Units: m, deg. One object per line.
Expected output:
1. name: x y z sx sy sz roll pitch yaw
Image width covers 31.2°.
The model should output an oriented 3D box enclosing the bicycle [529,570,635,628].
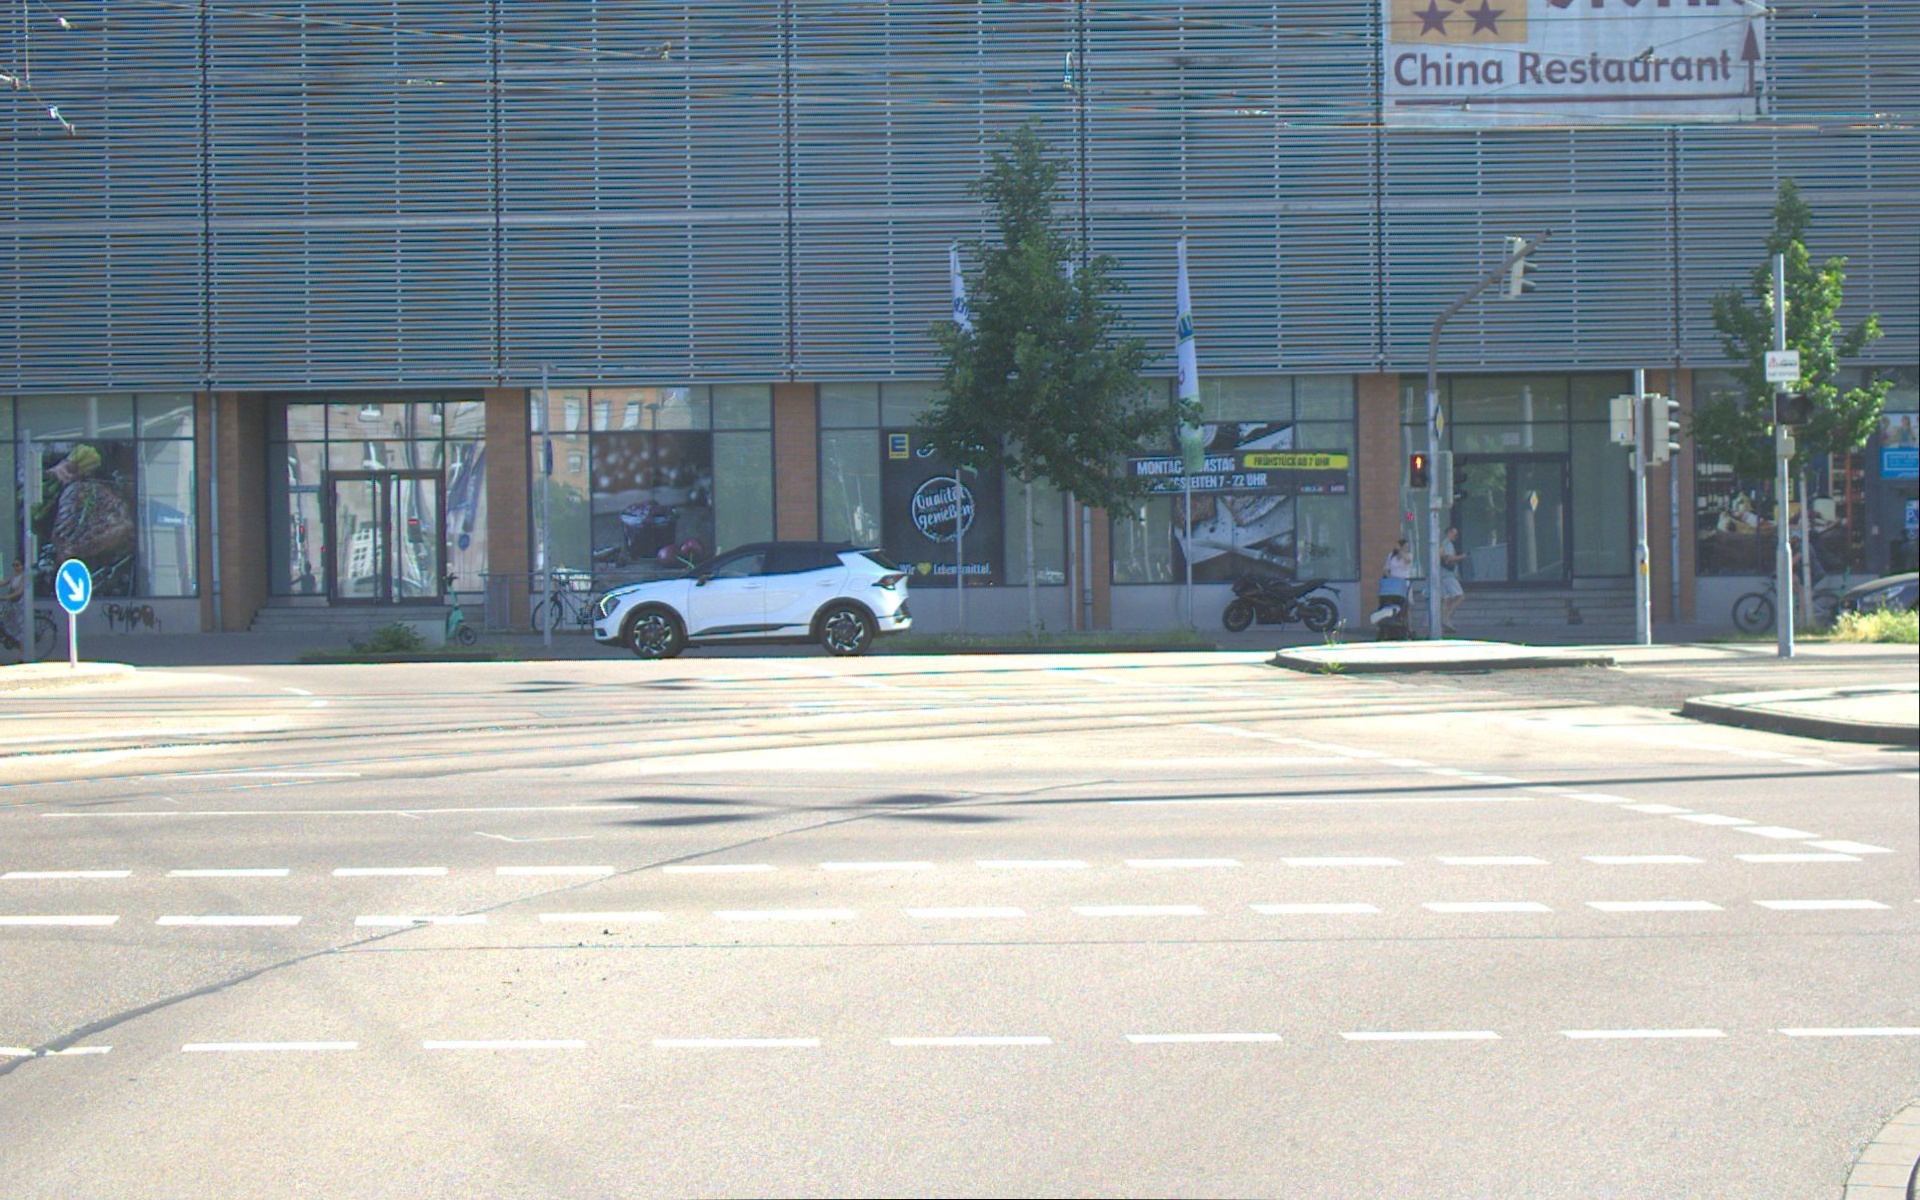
1. bicycle: -6.653 -0.022 60.541 1.815 0.986 0.558 -1 2 -10

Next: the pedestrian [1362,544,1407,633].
1. pedestrian: 6.827 -0.181 55.268 0.655 1.409 0.849 1 0 10

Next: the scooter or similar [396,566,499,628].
1. scooter or similar: -9.083 -0.051 60.923 1.792 1.062 0.613 0 2 -8

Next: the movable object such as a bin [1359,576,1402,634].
1. movable object such as a bin: 6.708 0.075 54.807 0.613 0.901 0.968 1 0 10

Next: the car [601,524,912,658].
1. car: -2.852 -0.133 48.800 4.326 1.856 1.841 0 0 -1

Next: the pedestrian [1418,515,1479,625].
1. pedestrian: 8.450 -0.509 59.501 0.950 1.822 0.845 -2 -3 5

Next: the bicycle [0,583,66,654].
1. bicycle: -15.249 0.305 54.859 0.568 1.082 1.859 1 3 43

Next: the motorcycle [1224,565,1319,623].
1. motorcycle: 5.490 -0.106 60.634 1.640 1.001 0.446 1 1 6

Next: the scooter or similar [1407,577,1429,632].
1. scooter or similar: 7.347 0.071 55.090 0.295 0.870 1.003 1 0 10

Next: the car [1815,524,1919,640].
1. car: 13.751 -0.146 45.846 4.146 1.464 1.841 3 0 -1

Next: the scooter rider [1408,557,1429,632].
1. scooter rider: 7.341 -0.091 55.028 0.288 1.196 0.385 1 0 10

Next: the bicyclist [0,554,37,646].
1. bicyclist: -15.283 -0.004 54.779 0.675 1.422 0.847 1 3 43

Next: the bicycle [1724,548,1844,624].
1. bicycle: 13.754 -0.232 57.401 1.857 1.213 0.569 -1 2 -1

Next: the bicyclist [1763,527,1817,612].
1. bicyclist: 13.858 -0.509 57.384 0.753 1.382 0.565 -1 2 -1
